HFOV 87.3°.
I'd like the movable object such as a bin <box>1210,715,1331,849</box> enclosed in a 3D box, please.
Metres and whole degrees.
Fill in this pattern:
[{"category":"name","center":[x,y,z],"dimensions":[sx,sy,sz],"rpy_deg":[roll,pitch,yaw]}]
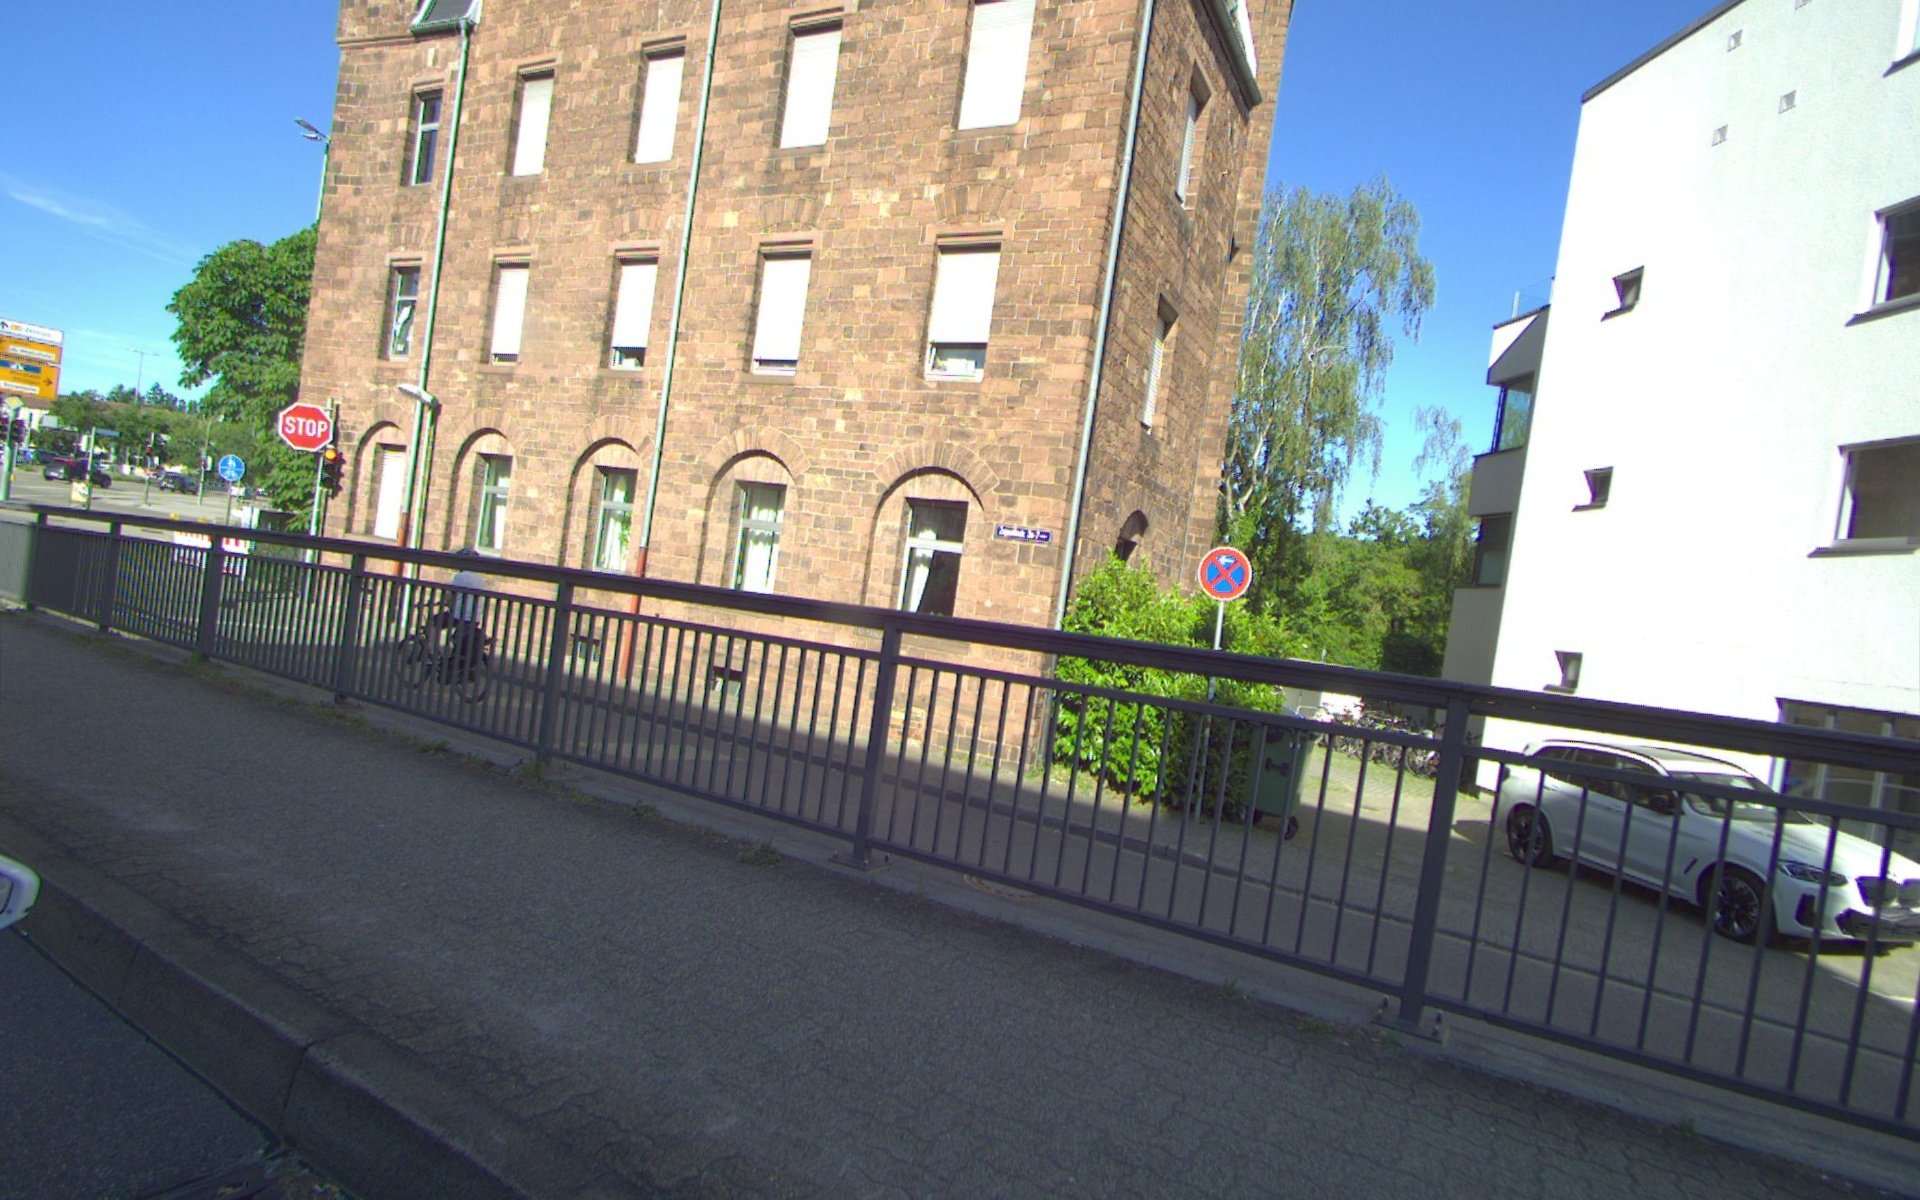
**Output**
[{"category":"movable object such as a bin","center":[3.681,2.105,11.884],"dimensions":[1.011,1.307,1.005],"rpy_deg":[9,0,28]}]

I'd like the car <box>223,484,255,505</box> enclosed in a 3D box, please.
[{"category":"car","center":[-72.272,-10.569,100.930],"dimensions":[1.869,1.650,3.972],"rpy_deg":[8,0,-27]}]

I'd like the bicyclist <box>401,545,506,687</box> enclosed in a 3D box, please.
[{"category":"bicyclist","center":[-6.245,0.205,12.417],"dimensions":[0.684,1.627,0.687],"rpy_deg":[9,0,28]}]

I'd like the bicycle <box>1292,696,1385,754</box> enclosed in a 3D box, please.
[{"category":"bicycle","center":[9.711,3.212,25.833],"dimensions":[2.075,1.174,0.664],"rpy_deg":[8,1,-10]}]

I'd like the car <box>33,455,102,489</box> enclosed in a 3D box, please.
[{"category":"car","center":[-60.418,-8.631,68.199],"dimensions":[1.863,1.650,3.984],"rpy_deg":[8,0,-17]}]

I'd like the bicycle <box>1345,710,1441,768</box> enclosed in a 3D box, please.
[{"category":"bicycle","center":[10.202,3.273,23.740],"dimensions":[1.889,1.065,0.664],"rpy_deg":[8,1,-7]}]

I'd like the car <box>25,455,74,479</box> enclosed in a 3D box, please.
[{"category":"car","center":[-80.950,-11.777,89.476],"dimensions":[1.860,1.598,3.977],"rpy_deg":[8,1,-23]}]

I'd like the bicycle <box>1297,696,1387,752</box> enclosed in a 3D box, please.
[{"category":"bicycle","center":[10.198,3.315,26.873],"dimensions":[2.075,1.174,0.664],"rpy_deg":[8,1,-10]}]

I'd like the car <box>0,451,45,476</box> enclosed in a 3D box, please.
[{"category":"car","center":[-78.452,-11.404,83.811],"dimensions":[1.860,1.598,3.977],"rpy_deg":[8,1,-23]}]

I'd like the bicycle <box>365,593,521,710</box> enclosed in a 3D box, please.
[{"category":"bicycle","center":[-6.420,0.630,12.480],"dimensions":[1.806,1.154,0.689],"rpy_deg":[9,0,28]}]

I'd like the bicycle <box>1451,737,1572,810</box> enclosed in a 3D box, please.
[{"category":"bicycle","center":[10.564,3.315,19.286],"dimensions":[1.889,1.065,0.664],"rpy_deg":[8,1,-7]}]

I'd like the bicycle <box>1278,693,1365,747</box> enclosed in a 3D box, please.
[{"category":"bicycle","center":[9.943,3.314,27.722],"dimensions":[2.075,1.174,0.664],"rpy_deg":[8,1,-10]}]

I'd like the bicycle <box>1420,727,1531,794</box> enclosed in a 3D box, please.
[{"category":"bicycle","center":[10.706,3.336,20.918],"dimensions":[1.889,1.065,0.664],"rpy_deg":[8,1,-7]}]

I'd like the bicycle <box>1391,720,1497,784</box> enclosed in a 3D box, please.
[{"category":"bicycle","center":[10.488,3.290,21.829],"dimensions":[1.889,1.065,0.664],"rpy_deg":[8,1,-7]}]

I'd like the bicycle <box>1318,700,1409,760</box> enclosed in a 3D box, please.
[{"category":"bicycle","center":[9.985,3.212,24.904],"dimensions":[1.889,1.174,0.664],"rpy_deg":[8,1,-7]}]

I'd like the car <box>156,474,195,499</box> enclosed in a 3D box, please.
[{"category":"car","center":[-66.483,-9.568,85.289],"dimensions":[1.870,1.650,3.969],"rpy_deg":[8,0,-29]}]

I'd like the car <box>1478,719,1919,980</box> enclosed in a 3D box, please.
[{"category":"car","center":[8.454,2.640,11.638],"dimensions":[1.814,1.707,4.520],"rpy_deg":[8,0,-10]}]

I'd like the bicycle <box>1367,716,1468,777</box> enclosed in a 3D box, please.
[{"category":"bicycle","center":[10.321,3.307,22.714],"dimensions":[1.889,1.065,0.664],"rpy_deg":[8,1,-7]}]
